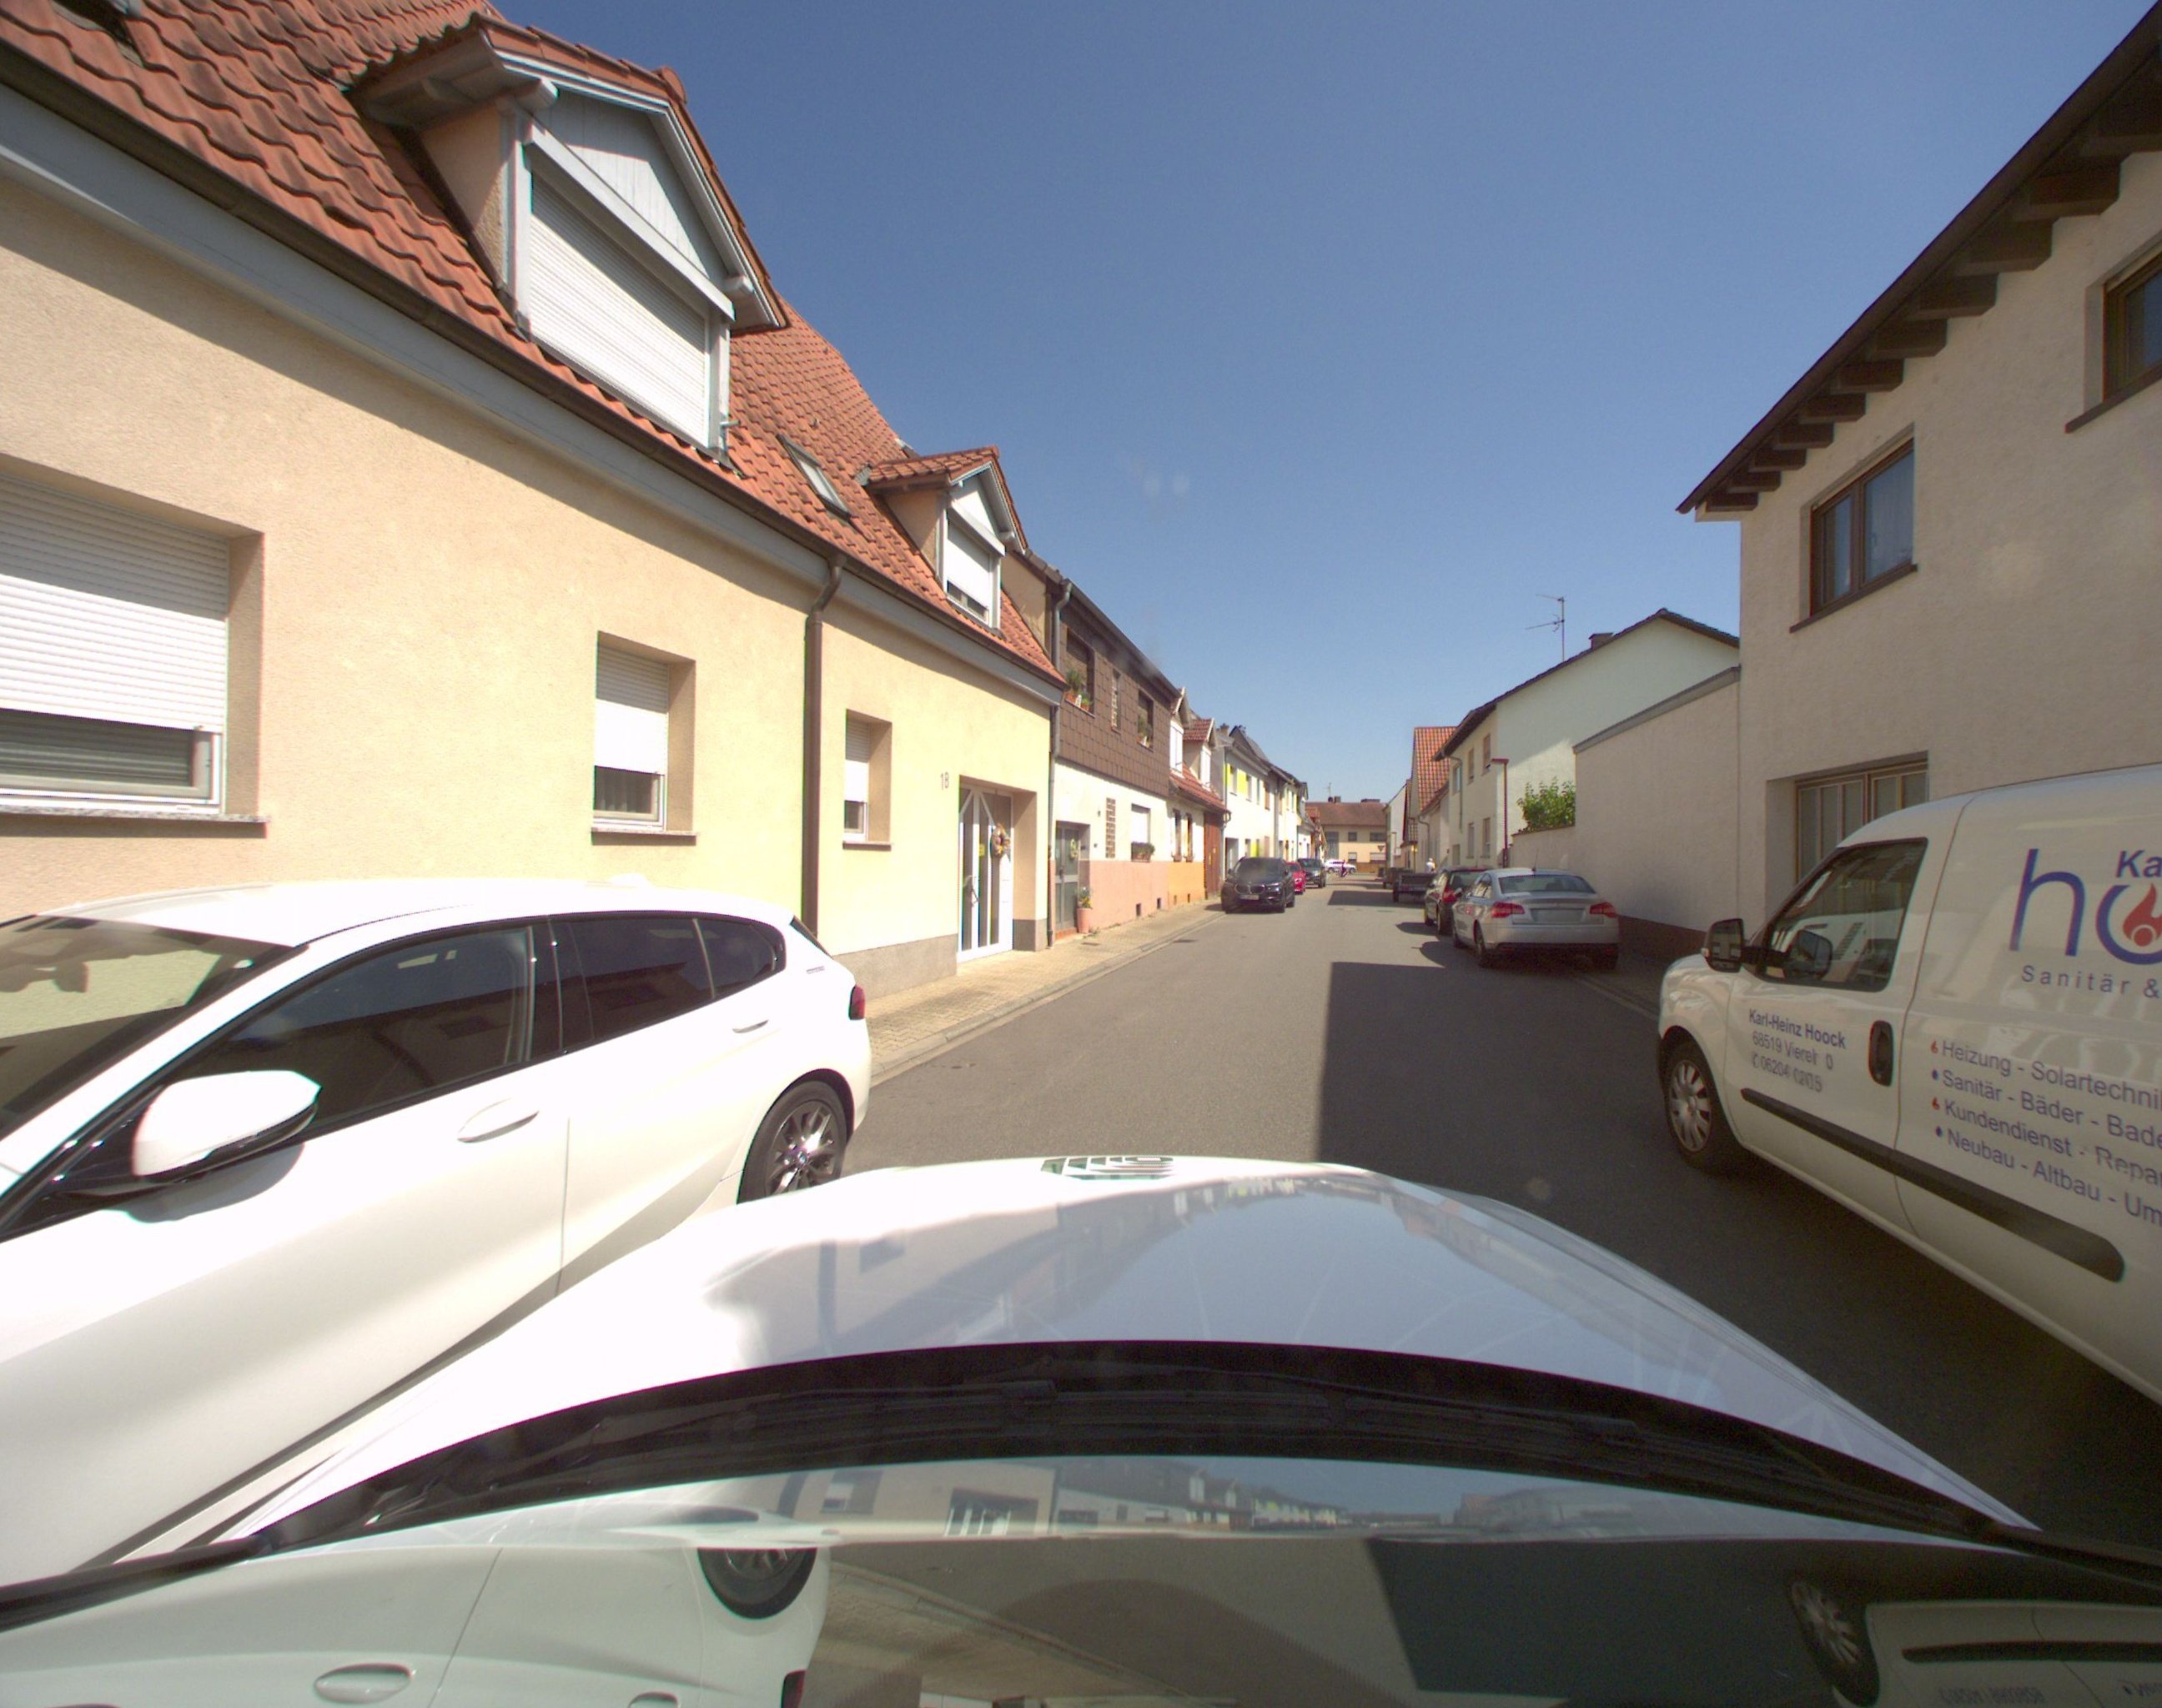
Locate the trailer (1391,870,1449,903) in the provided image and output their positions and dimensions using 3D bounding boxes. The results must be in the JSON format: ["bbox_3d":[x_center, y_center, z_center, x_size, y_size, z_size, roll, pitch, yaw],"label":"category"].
[{"bbox_3d":[12.408,1.161,29.995,1.802,1.090,3.498,0,0,20],"label":"trailer"}]

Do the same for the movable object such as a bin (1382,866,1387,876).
[{"bbox_3d":[28.882,1.616,77.440,0.420,0.975,0.475,0,-1,16],"label":"movable object such as a bin"}]

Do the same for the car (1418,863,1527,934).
[{"bbox_3d":[8.816,0.925,18.640,1.636,1.436,4.152,0,-1,17],"label":"car"}]

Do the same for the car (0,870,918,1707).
[{"bbox_3d":[-2.335,0.789,2.291,1.768,1.454,4.235,0,-1,19],"label":"car"}]

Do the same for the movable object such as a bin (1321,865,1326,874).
[{"bbox_3d":[25.221,1.601,84.786,0.445,0.921,0.406,0,-1,16],"label":"movable object such as a bin"}]

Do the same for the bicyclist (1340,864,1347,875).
[{"bbox_3d":[24.129,1.412,74.783,0.462,0.959,0.350,-1,-2,-14],"label":"bicyclist"}]

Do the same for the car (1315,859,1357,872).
[{"bbox_3d":[32.005,1.464,102.152,4.752,1.585,1.794,0,-1,-12],"label":"car"}]

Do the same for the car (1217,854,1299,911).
[{"bbox_3d":[5.446,0.805,24.626,1.785,1.574,4.637,0,-1,20],"label":"car"}]

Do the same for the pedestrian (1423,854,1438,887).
[{"bbox_3d":[16.818,0.794,39.181,0.591,1.565,0.559,0,-4,17],"label":"pedestrian"}]

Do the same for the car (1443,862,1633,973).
[{"bbox_3d":[7.243,0.899,13.464,1.776,1.481,4.956,-2,-1,18],"label":"car"}]

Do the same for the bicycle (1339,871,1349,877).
[{"bbox_3d":[24.126,1.858,74.813,0.441,0.567,0.935,0,0,-13],"label":"bicycle"}]

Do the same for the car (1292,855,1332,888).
[{"bbox_3d":[12.491,0.936,43.949,1.785,1.704,4.509,-1,-1,19],"label":"car"}]

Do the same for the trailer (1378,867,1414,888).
[{"bbox_3d":[17.037,1.247,44.169,1.686,1.033,3.498,0,0,19],"label":"trailer"}]

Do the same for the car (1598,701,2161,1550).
[{"bbox_3d":[3.519,0.618,2.611,1.796,1.824,4.870,2,0,16],"label":"car"}]

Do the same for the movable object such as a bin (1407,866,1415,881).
[{"bbox_3d":[24.109,1.448,59.491,0.454,1.087,0.504,0,-1,18],"label":"movable object such as a bin"}]

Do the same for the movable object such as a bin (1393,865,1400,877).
[{"bbox_3d":[28.734,1.531,74.171,0.521,1.128,0.368,0,-1,16],"label":"movable object such as a bin"}]

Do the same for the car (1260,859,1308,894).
[{"bbox_3d":[9.228,0.982,36.811,1.786,1.441,4.507,0,-1,17],"label":"car"}]
